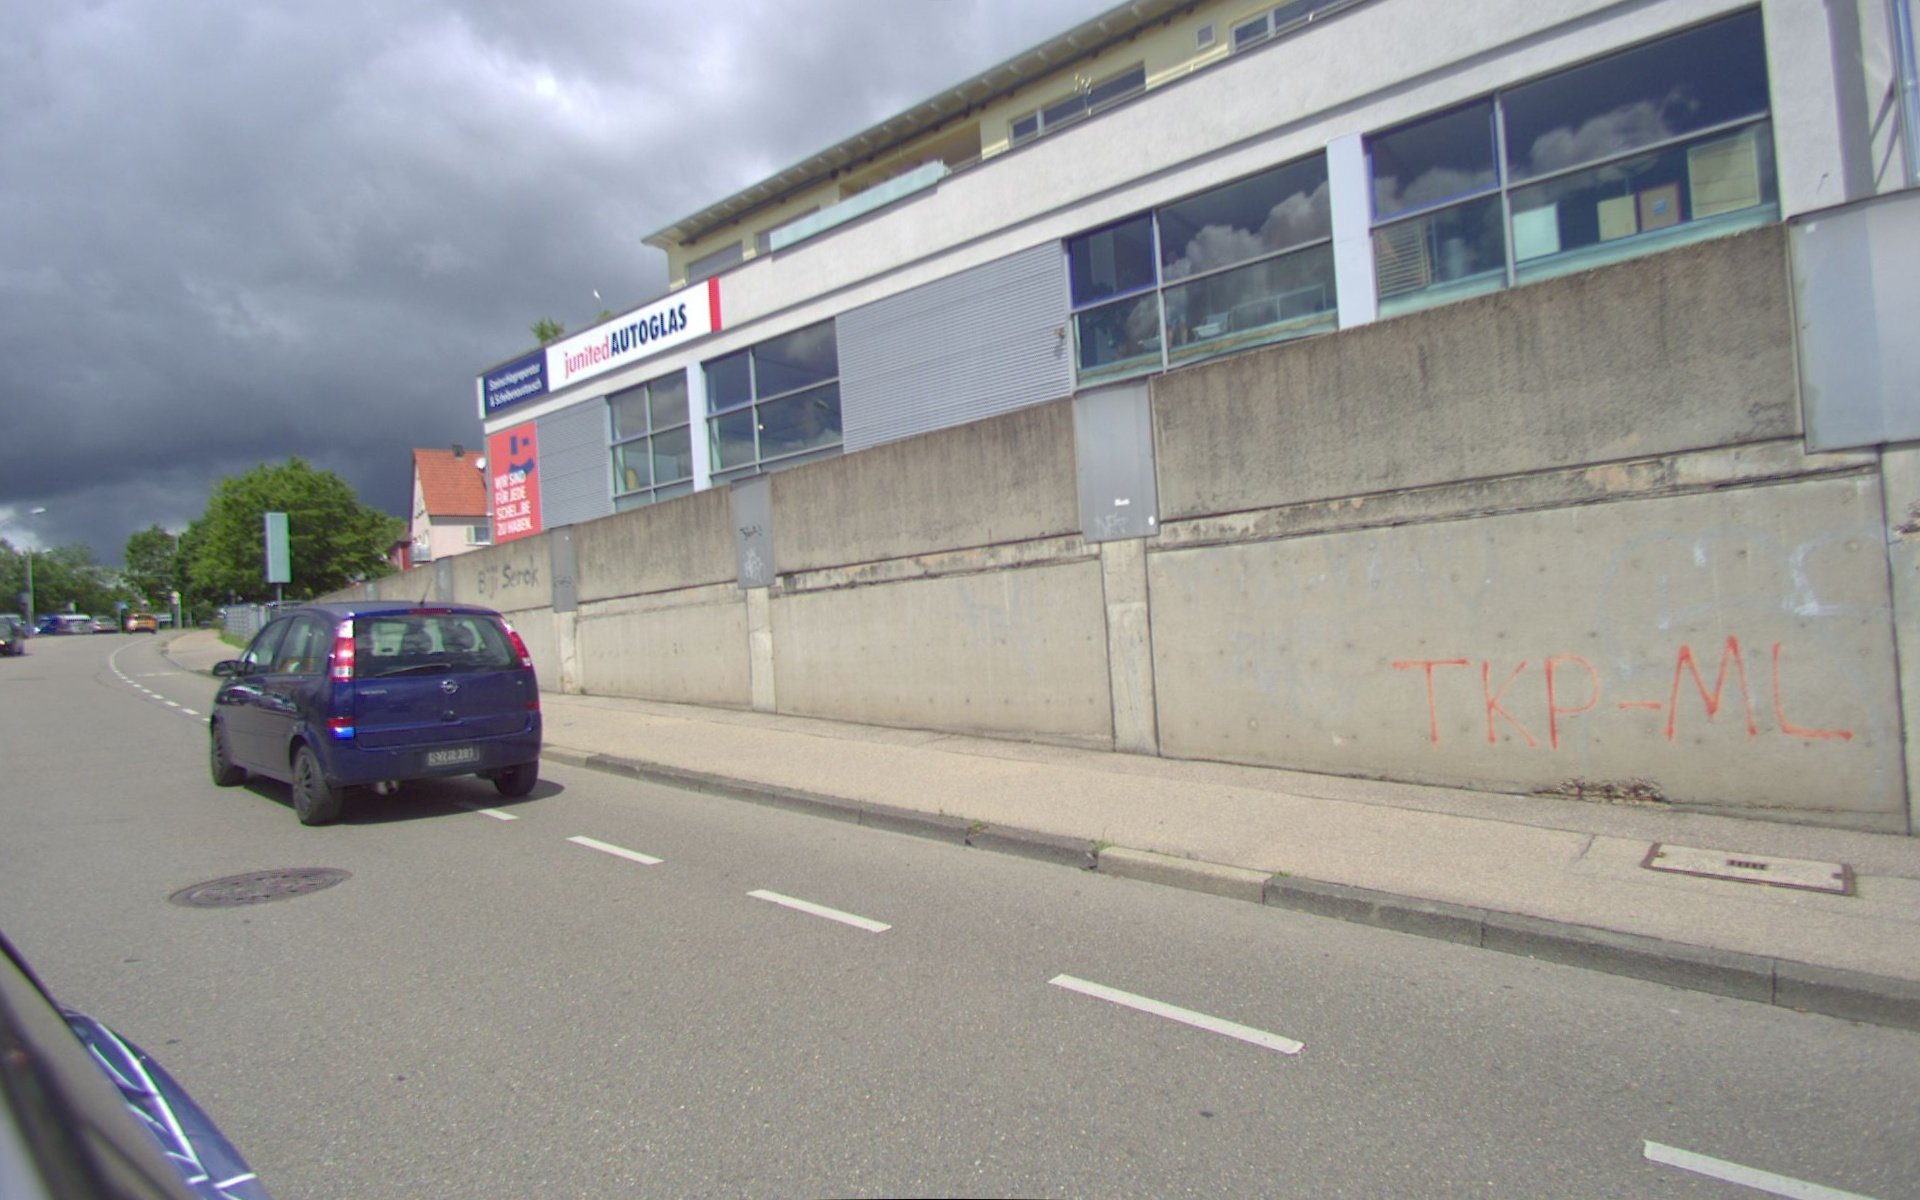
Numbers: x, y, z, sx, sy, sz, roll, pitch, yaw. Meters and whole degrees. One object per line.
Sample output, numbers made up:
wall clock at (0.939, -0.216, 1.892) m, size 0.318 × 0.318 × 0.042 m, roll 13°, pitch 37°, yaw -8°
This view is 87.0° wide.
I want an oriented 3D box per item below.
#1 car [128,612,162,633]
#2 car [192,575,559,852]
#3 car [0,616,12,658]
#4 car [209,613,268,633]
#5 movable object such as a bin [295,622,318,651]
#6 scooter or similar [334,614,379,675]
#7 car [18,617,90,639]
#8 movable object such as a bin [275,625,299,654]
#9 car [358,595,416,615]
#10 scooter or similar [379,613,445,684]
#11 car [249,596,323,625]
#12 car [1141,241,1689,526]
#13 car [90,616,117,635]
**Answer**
car at (-61.386, 1.695, 76.298) m, size 1.579 × 1.501 × 3.692 m, roll -2°, pitch 1°, yaw -33°
car at (-5.065, 0.772, 8.557) m, size 3.779 × 1.831 × 1.609 m, roll -1°, pitch -1°, yaw 42°
car at (-36.884, 1.399, 38.165) m, size 1.562 × 1.517 × 3.962 m, roll -2°, pitch 1°, yaw -42°
car at (-58.398, 1.843, 81.964) m, size 3.795 × 1.517 × 1.590 m, roll -2°, pitch 0°, yaw -35°
movable object such as a bin at (-24.924, 1.410, 38.591) m, size 0.654 × 1.089 × 0.517 m, roll 3°, pitch -3°, yaw -41°
scooter or similar at (-13.209, 0.949, 22.145) m, size 0.550 × 1.285 × 1.307 m, roll -2°, pitch 1°, yaw -43°
car at (-92.080, 2.857, 102.918) m, size 1.947 × 1.984 × 5.098 m, roll -1°, pitch 1°, yaw 20°
movable object such as a bin at (-25.397, 1.482, 38.217) m, size 0.654 × 1.089 × 0.517 m, roll 3°, pitch -3°, yaw -41°
car at (-47.072, 0.411, 83.148) m, size 3.954 × 1.517 × 1.590 m, roll -2°, pitch 0°, yaw -35°
scooter or similar at (-10.539, 0.913, 19.450) m, size 1.381 × 1.285 × 0.514 m, roll -1°, pitch 2°, yaw 37°
car at (-44.776, 0.694, 67.312) m, size 3.896 × 1.789 × 1.525 m, roll -2°, pitch 1°, yaw -42°
car at (3.867, -1.634, 8.965) m, size 4.100 × 1.649 × 1.788 m, roll -1°, pitch 1°, yaw 40°
car at (-74.244, 2.231, 87.757) m, size 1.621 × 1.544 × 4.230 m, roll -2°, pitch 0°, yaw -39°
